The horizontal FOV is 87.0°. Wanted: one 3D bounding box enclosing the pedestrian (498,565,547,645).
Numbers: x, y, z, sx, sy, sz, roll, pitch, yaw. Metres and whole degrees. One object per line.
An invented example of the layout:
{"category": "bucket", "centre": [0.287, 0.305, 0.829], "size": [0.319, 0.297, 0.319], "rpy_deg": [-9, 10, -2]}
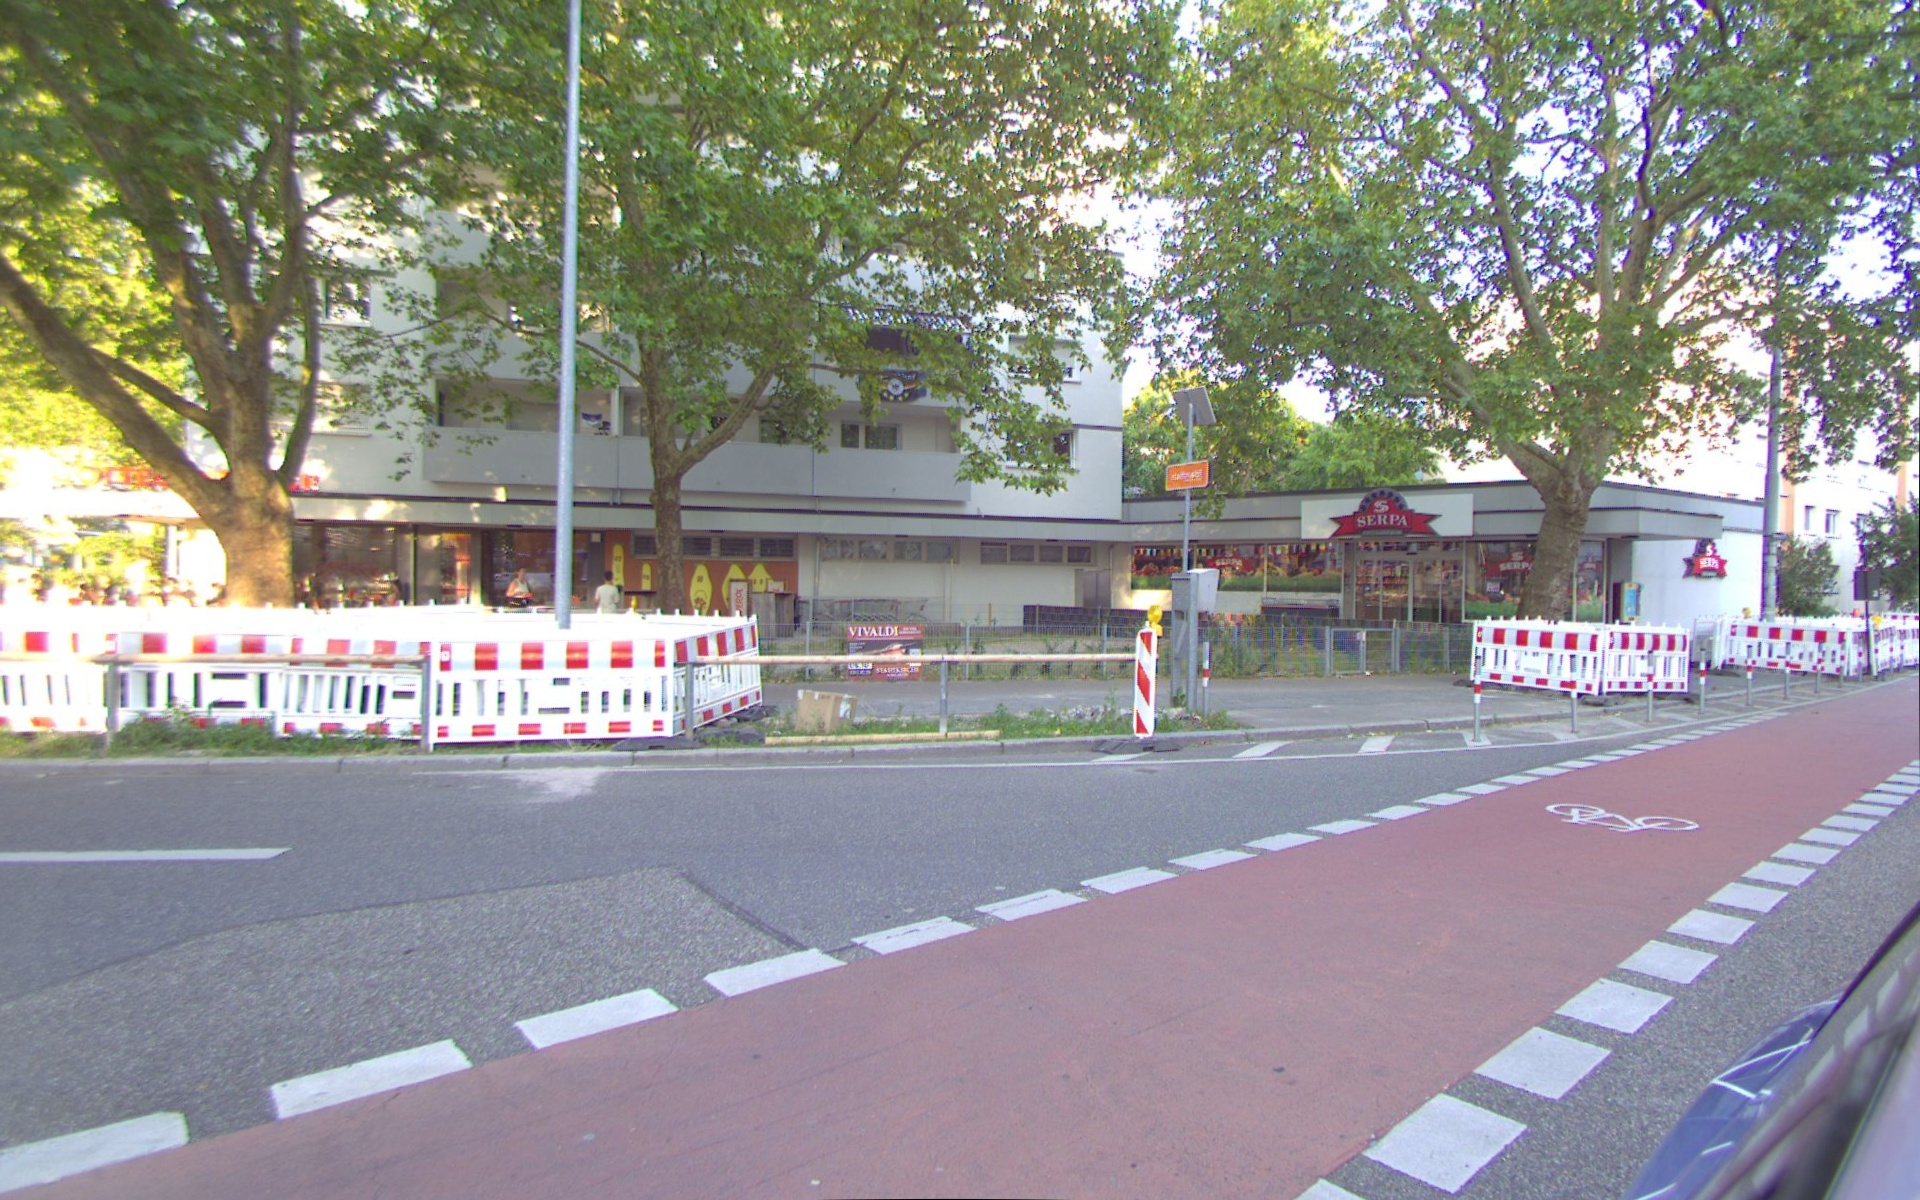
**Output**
{"category": "pedestrian", "centre": [-9.099, 0.095, 21.065], "size": [0.639, 1.608, 0.735], "rpy_deg": [0, 0, 43]}

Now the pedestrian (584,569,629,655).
{"category": "pedestrian", "centre": [-6.748, 0.212, 19.360], "size": [0.731, 1.608, 0.642], "rpy_deg": [-1, 0, -12]}
